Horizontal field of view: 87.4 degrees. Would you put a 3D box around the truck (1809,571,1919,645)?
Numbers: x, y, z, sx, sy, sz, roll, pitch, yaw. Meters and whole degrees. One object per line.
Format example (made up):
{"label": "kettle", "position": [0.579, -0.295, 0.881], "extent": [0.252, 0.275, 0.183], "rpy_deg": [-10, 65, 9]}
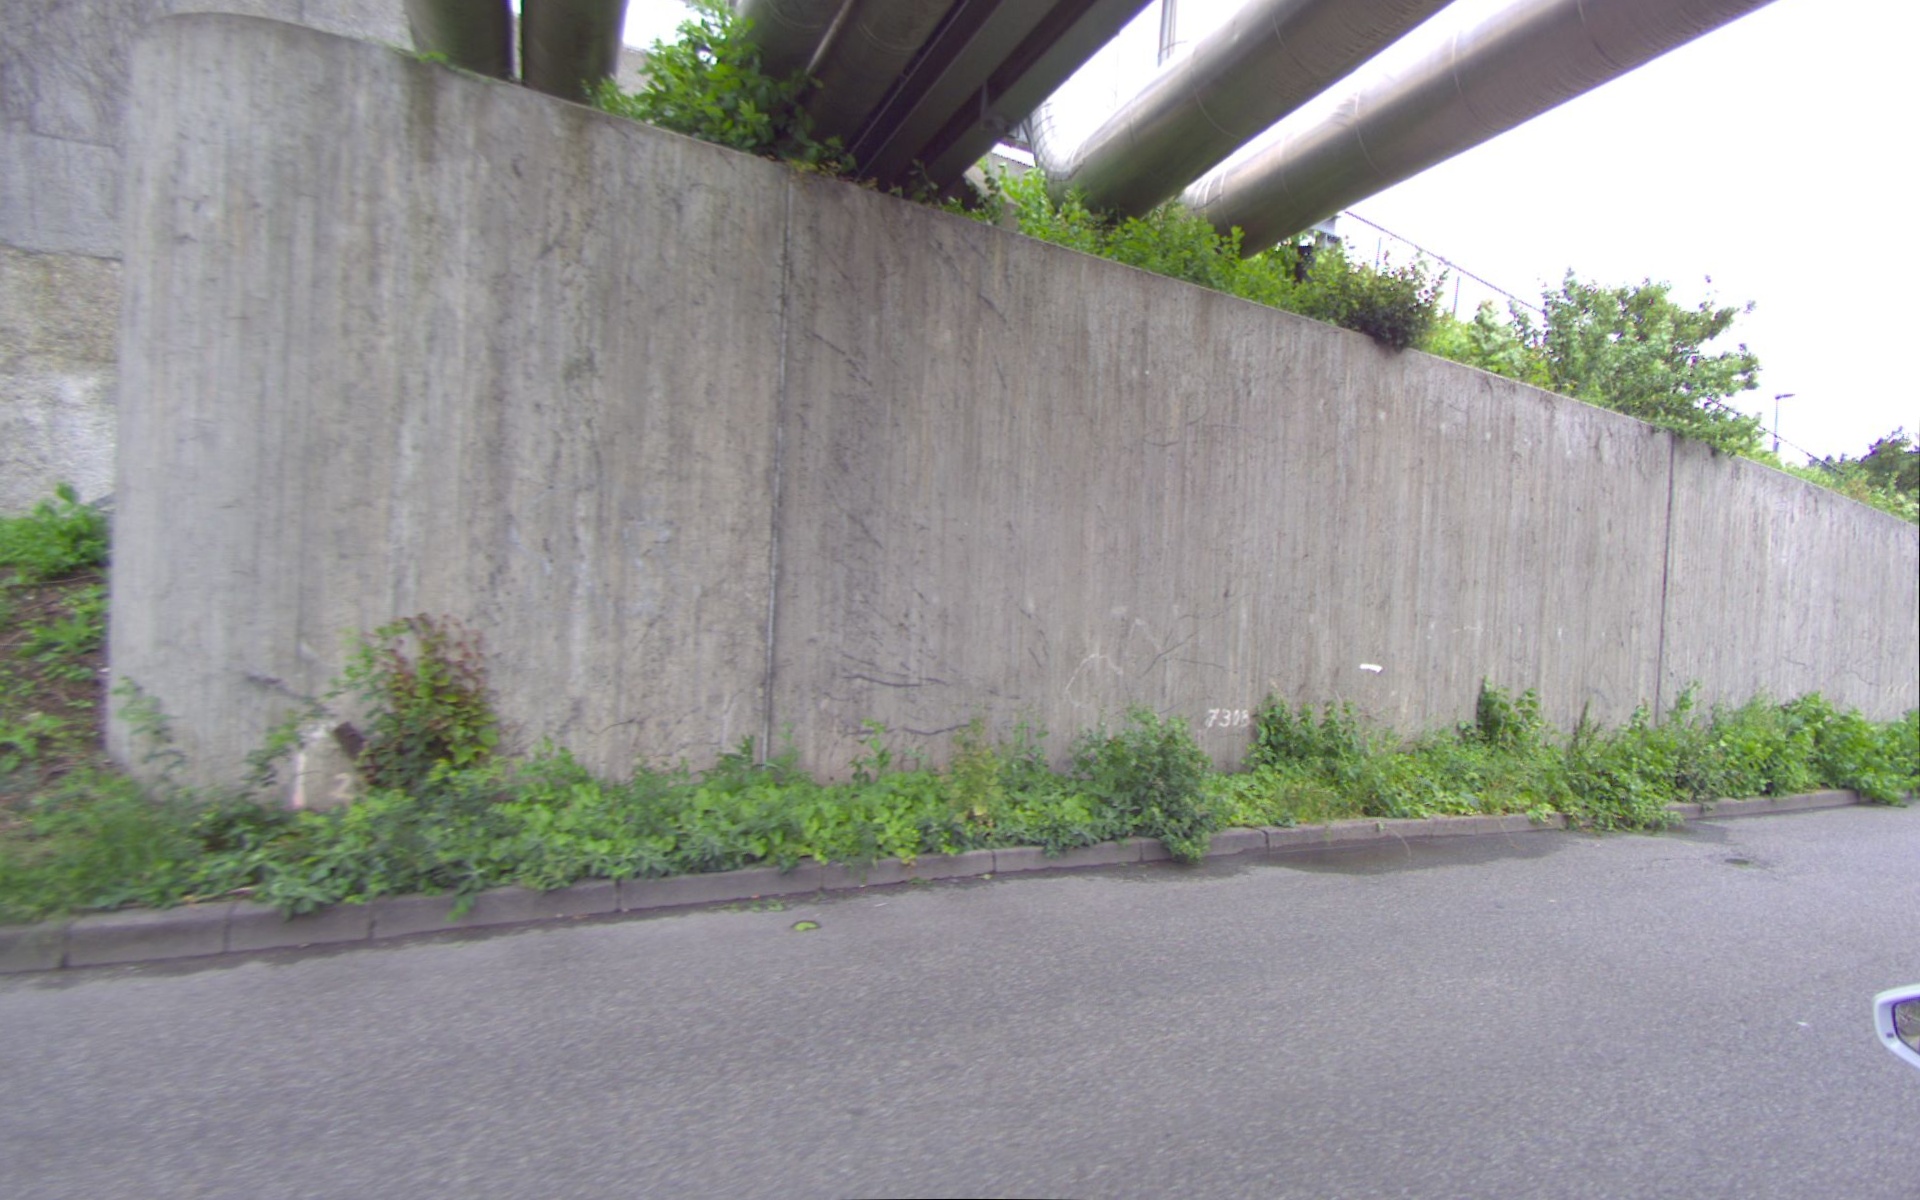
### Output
{"label": "truck", "position": [50.307, 0.510, 53.031], "extent": [7.725, 3.584, 3.048], "rpy_deg": [4, -1, 29]}

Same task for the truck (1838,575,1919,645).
{"label": "truck", "position": [54.304, 0.701, 55.720], "extent": [7.719, 3.584, 3.050], "rpy_deg": [4, -1, 26]}
